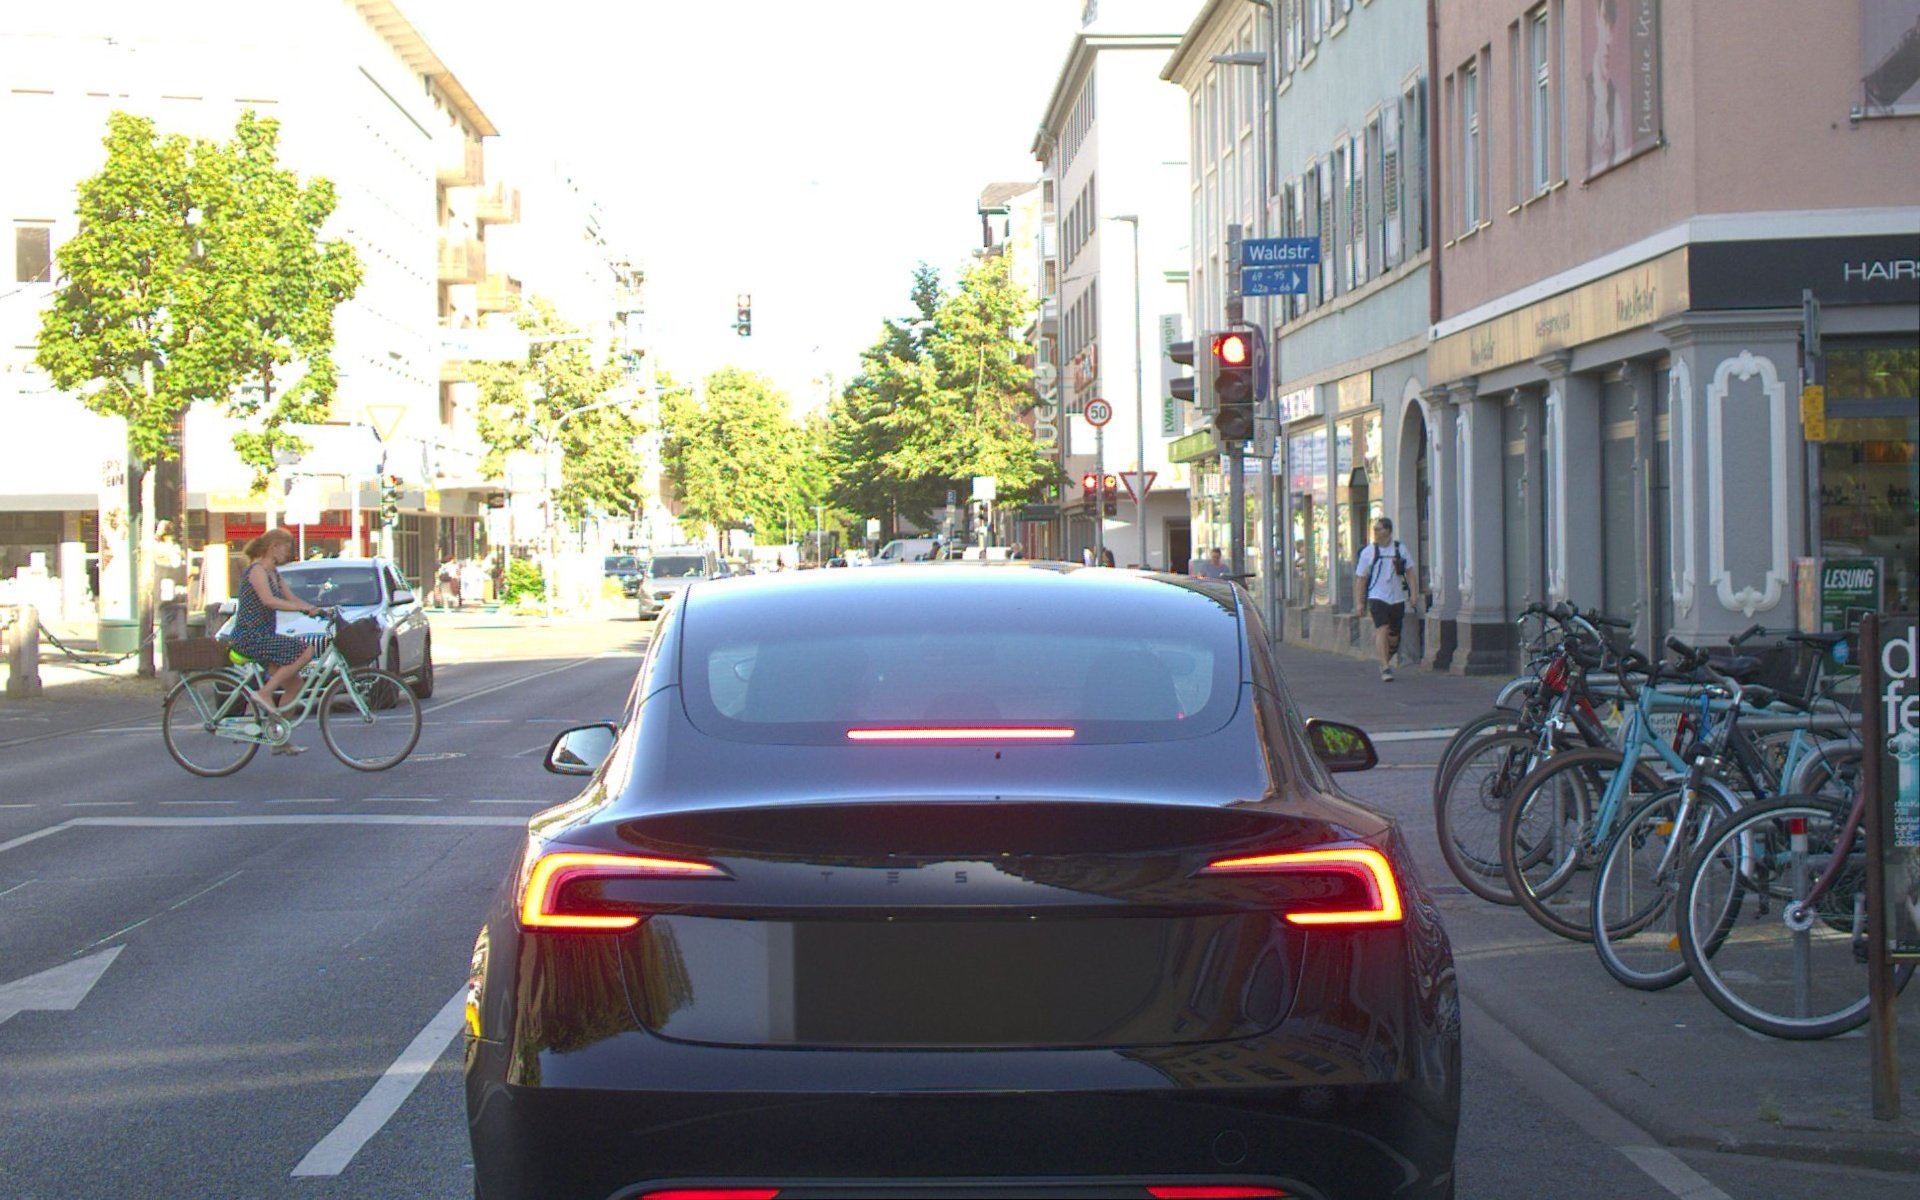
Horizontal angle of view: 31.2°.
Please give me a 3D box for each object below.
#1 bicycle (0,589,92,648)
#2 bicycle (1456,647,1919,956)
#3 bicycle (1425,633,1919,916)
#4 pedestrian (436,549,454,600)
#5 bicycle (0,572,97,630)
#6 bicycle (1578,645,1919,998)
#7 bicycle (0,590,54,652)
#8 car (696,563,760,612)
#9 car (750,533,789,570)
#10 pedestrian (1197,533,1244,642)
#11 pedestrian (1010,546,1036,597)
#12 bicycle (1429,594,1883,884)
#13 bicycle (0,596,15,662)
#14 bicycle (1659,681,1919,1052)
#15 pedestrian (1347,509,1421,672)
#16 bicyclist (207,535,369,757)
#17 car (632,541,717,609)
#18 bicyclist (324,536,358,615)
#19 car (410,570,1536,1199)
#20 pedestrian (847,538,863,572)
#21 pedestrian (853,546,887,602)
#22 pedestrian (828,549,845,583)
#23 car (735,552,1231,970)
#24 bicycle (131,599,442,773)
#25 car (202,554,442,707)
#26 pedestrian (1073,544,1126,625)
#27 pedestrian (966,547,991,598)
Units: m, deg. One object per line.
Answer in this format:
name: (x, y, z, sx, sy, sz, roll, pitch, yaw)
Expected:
bicycle: (-14.838, 0.293, 54.798, 1.864, 0.931, 0.606, 0, 1, -1)
bicycle: (2.777, 0.717, 12.449, 1.873, 1.034, 0.533, -2, 0, 4)
bicycle: (2.818, 0.686, 13.631, 1.873, 1.034, 0.547, -2, 0, 5)
pedestrian: (-14.594, -0.730, 97.404, 0.459, 1.455, 0.518, 0, 1, -5)
bicycle: (-20.790, 0.019, 77.868, 2.361, 1.291, 0.513, 1, 0, -26)
bicycle: (2.994, 0.700, 11.158, 1.873, 1.084, 0.414, -2, 0, 4)
bicycle: (-14.810, 0.318, 52.350, 1.864, 0.931, 0.606, 0, 1, -1)
car: (-7.017, -0.386, 104.195, 1.715, 1.441, 3.845, 1, 1, -1)
car: (-10.360, -2.635, 187.135, 1.993, 2.007, 4.000, 0, 1, -1)
pedestrian: (4.164, -0.199, 55.010, 0.706, 1.736, 0.540, 0, 1, -1)
pedestrian: (1.757, -0.804, 95.777, 0.521, 1.417, 0.479, 1, 0, -30)
bicycle: (2.964, 0.589, 14.750, 1.828, 1.165, 0.505, -2, 0, 5)
bicycle: (-14.692, 0.407, 49.765, 1.864, 0.931, 0.606, 1, 0, -1)
bicycle: (3.014, 0.752, 9.980, 1.873, 1.034, 0.353, -2, 0, 6)
pedestrian: (4.601, -0.105, 37.317, 0.750, 1.759, 0.836, 0, 0, 4)
bicyclist: (-4.586, 0.308, 23.490, 0.891, 1.477, 0.701, -1, 1, 5)
car: (-7.052, -0.634, 85.270, 1.787, 1.640, 4.403, 0, 1, -1)
bicyclist: (-11.910, -0.470, 66.118, 0.522, 1.498, 0.476, 1, 0, -24)
car: (-0.001, 0.655, 7.567, 1.822, 1.437, 4.000, 0, 1, -1)
pedestrian: (-6.274, -2.713, 205.514, 0.930, 2.007, 0.938, 1, 0, -1)
pedestrian: (-2.757, -0.794, 105.262, 0.715, 1.689, 0.851, 0, 1, -28)
pedestrian: (-7.380, -2.040, 205.418, 0.930, 2.007, 0.938, 1, 0, -1)
car: (0.012, 0.533, 13.797, 1.718, 1.420, 3.758, 0, 1, -2)
bicycle: (-4.591, 0.581, 23.497, 1.934, 1.114, 0.709, -1, 1, 5)
car: (-6.651, 0.289, 36.206, 1.789, 1.455, 3.757, -2, 1, 0)
pedestrian: (2.807, -0.314, 69.322, 0.754, 1.626, 0.956, 1, 0, -18)
pedestrian: (0.506, -0.776, 95.889, 0.472, 1.412, 0.522, 1, 0, -31)
